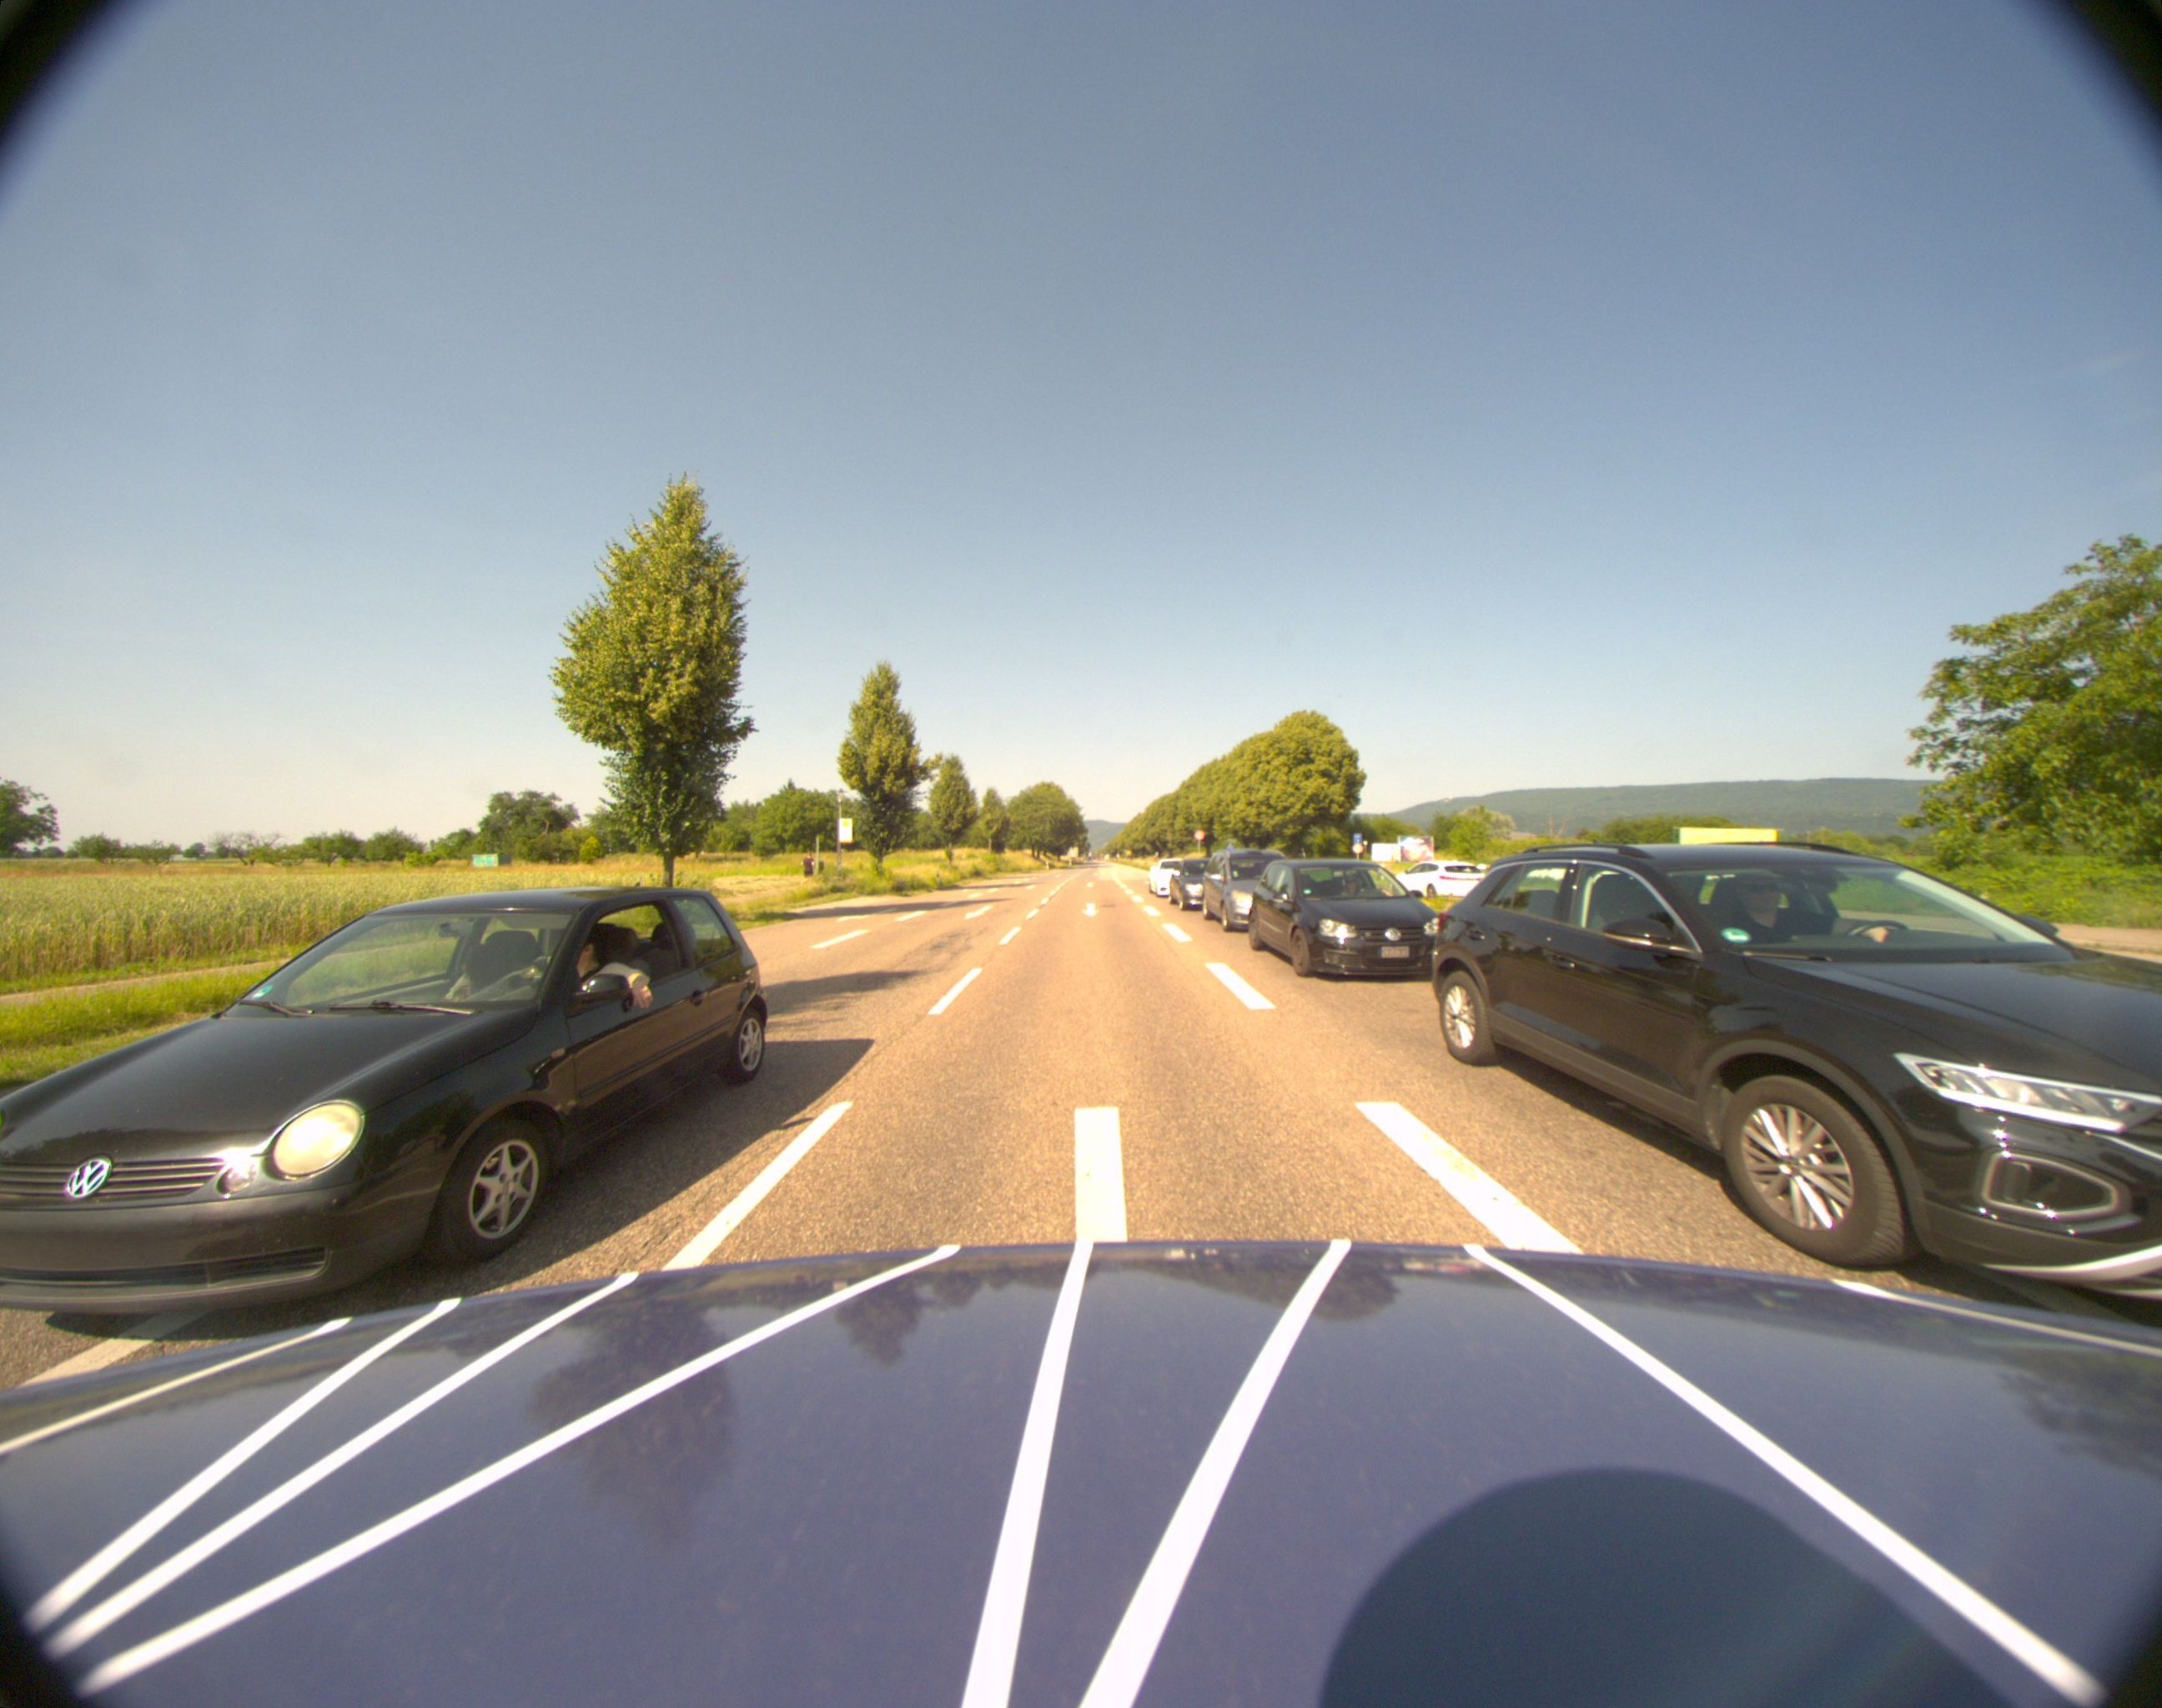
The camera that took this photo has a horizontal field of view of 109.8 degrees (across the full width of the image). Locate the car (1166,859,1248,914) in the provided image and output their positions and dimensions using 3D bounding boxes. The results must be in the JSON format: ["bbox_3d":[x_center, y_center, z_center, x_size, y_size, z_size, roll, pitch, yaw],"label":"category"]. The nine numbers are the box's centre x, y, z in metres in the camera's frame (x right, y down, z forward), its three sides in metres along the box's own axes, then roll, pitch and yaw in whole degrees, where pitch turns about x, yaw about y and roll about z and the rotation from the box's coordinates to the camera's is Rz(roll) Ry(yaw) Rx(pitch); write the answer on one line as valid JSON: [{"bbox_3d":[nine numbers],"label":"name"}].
[{"bbox_3d":[3.565,0.870,22.235,1.719,1.402,4.355,-1,0,1],"label":"car"}]

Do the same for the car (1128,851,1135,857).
[{"bbox_3d":[16.857,0.007,253.453,1.998,1.830,4.953,2,0,1],"label":"car"}]

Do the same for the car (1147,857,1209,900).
[{"bbox_3d":[3.631,0.872,29.160,1.808,1.417,4.641,-1,0,1],"label":"car"}]

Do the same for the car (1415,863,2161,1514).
[{"bbox_3d":[3.461,0.851,3.908,1.733,1.538,4.098,-1,0,1],"label":"car"}]

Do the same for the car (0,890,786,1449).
[{"bbox_3d":[-3.104,1.019,4.022,1.629,1.425,3.622,-2,0,0],"label":"car"}]

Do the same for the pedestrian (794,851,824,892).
[{"bbox_3d":[-12.259,0.768,34.293,0.904,1.828,1.194,0,0,-1],"label":"pedestrian"}]

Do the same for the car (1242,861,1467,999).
[{"bbox_3d":[3.466,0.867,10.463,1.670,1.466,4.098,-1,0,1],"label":"car"}]

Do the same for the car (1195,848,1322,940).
[{"bbox_3d":[3.615,0.746,16.243,1.745,1.662,4.357,-1,0,1],"label":"car"}]

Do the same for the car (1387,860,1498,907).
[{"bbox_3d":[12.876,1.005,27.379,1.888,1.506,4.146,0,0,-2],"label":"car"}]
